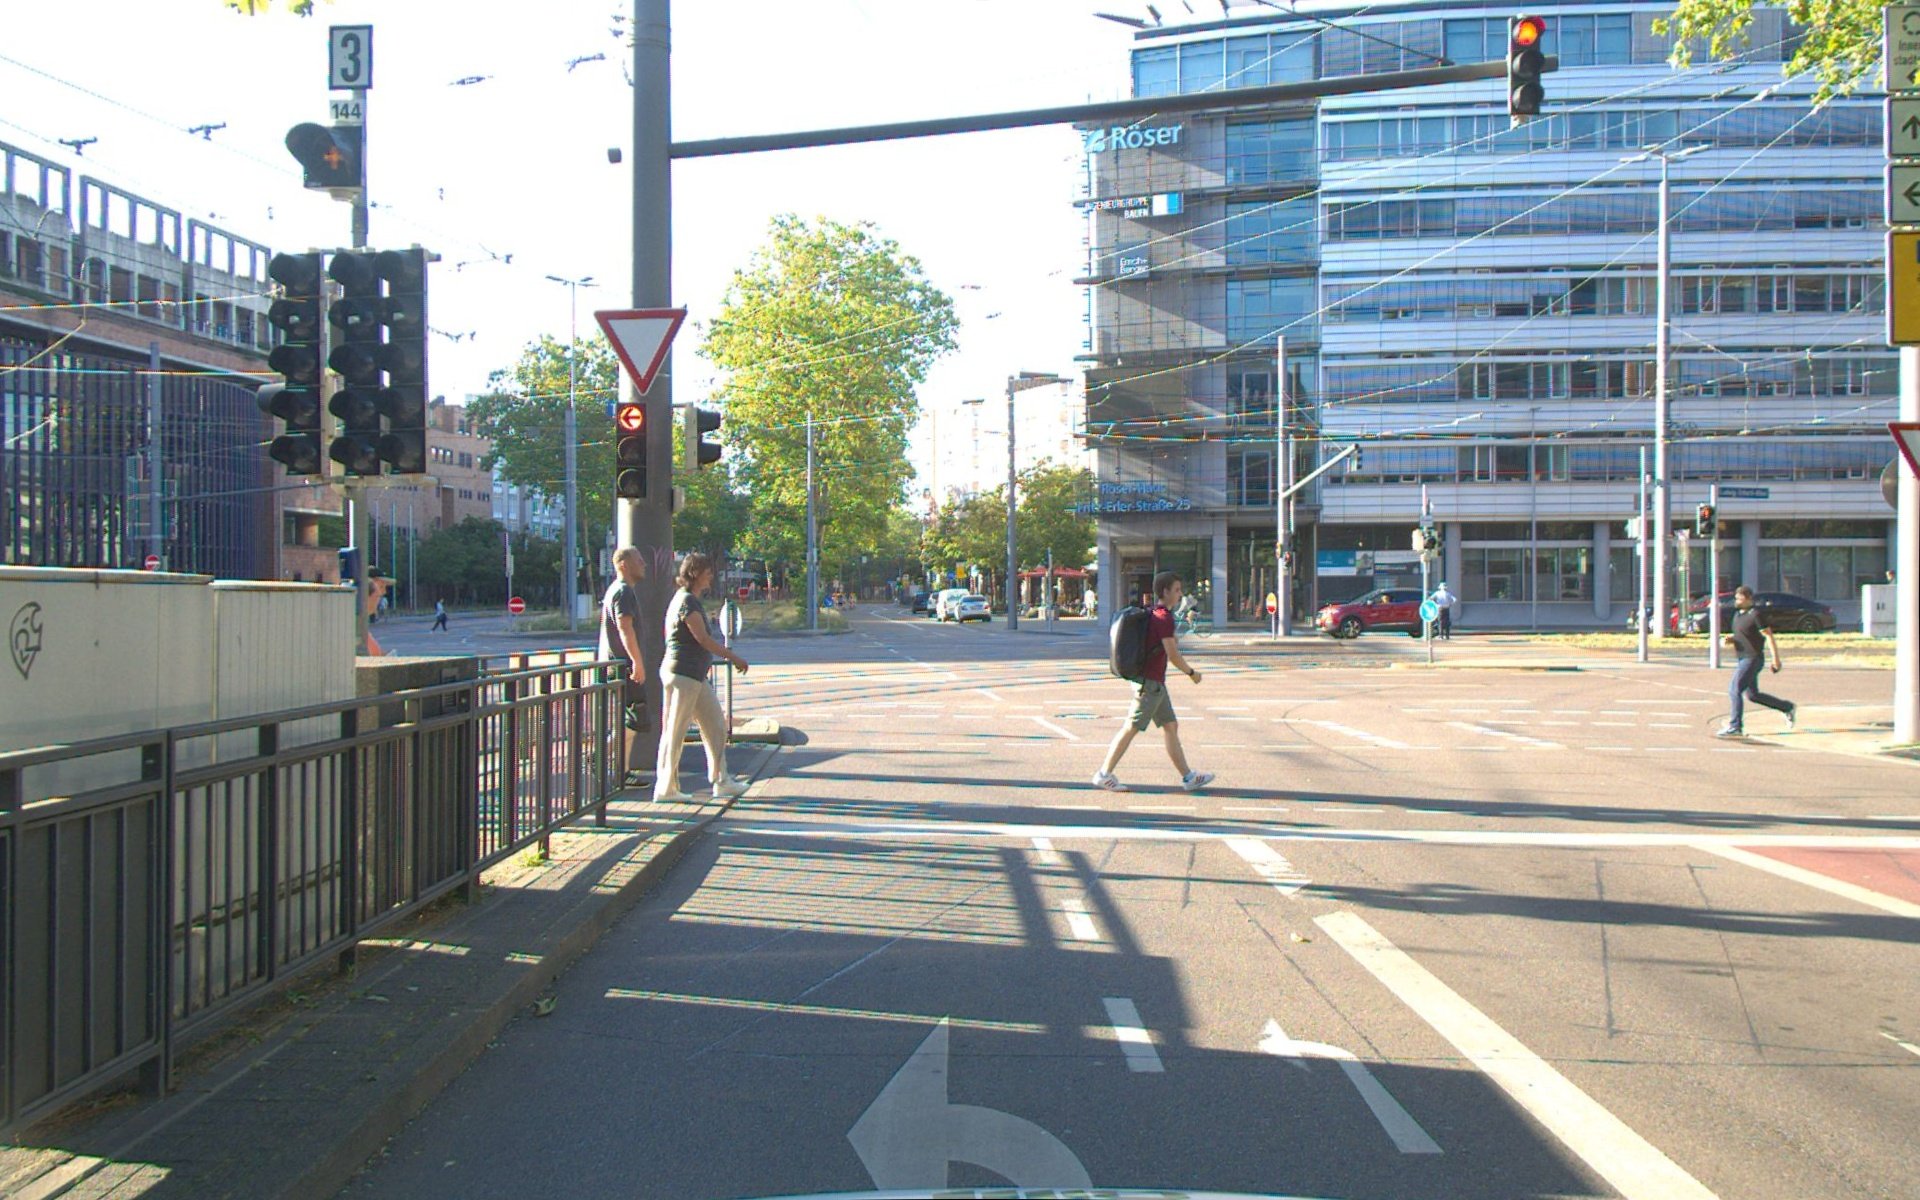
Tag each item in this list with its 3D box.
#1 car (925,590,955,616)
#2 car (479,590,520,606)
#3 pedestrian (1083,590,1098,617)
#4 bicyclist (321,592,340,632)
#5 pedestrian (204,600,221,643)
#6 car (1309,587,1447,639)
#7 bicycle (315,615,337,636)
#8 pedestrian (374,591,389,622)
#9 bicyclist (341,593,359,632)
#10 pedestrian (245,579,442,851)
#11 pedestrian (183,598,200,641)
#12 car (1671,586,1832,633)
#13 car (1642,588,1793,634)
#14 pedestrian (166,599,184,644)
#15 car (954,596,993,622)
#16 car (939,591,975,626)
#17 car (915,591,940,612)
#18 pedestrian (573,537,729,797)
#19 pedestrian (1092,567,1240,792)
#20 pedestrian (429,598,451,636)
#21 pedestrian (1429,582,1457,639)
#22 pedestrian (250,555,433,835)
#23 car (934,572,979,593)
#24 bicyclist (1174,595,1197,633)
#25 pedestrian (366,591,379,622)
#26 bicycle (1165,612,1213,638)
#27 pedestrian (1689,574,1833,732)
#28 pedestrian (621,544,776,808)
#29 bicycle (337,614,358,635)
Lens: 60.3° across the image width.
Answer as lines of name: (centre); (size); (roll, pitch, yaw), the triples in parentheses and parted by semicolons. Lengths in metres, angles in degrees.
car: (-1.355, 0.189, 112.062); (1.953, 1.691, 3.999); (-1, 0, -1)
car: (-49.131, -0.237, 176.595); (3.949, 1.579, 1.589); (2, -1, -33)
pedestrian: (7.199, 0.179, 91.235); (0.724, 1.491, 0.536); (-1, 0, -3)
bicyclist: (-27.415, 0.529, 72.058); (0.582, 1.705, 0.788); (-1, 0, -7)
pedestrian: (-28.935, 0.828, 64.039); (0.529, 1.679, 0.622); (-1, 0, -20)
car: (13.883, 0.427, 55.087); (4.153, 1.630, 1.795); (-1, 0, 0)
bicycle: (-27.564, 1.098, 71.945); (0.503, 0.897, 1.835); (-1, 0, -9)
pedestrian: (-34.099, 0.392, 97.531); (0.627, 1.842, 0.546); (-1, 0, 6)
bicyclist: (-26.674, 0.547, 72.331); (0.582, 1.705, 0.788); (-1, 0, -7)
pedestrian: (-4.032, 0.732, 10.892); (1.052, 1.711, 0.756); (1, -1, -8)
pedestrian: (-30.161, 0.775, 64.936); (0.529, 1.679, 0.622); (-1, 0, -20)
car: (24.703, 0.289, 51.708); (4.152, 1.417, 1.796); (-1, 0, 3)
car: (24.904, 0.358, 54.448); (4.151, 1.417, 1.797); (-1, 0, 5)
pedestrian: (-29.844, 0.805, 62.859); (0.529, 1.679, 0.622); (-1, 0, -20)
car: (0.712, 0.451, 89.945); (1.953, 1.355, 3.999); (-1, 0, -1)
car: (-0.196, 0.482, 96.771); (1.953, 2.026, 3.999); (-1, 0, -1)
car: (-2.609, 0.132, 133.838); (1.953, 1.691, 3.999); (-1, 0, -1)
pedestrian: (-2.362, 0.506, 12.780); (1.124, 1.927, 0.831); (1, -1, -8)
pedestrian: (1.632, 0.623, 13.207); (1.052, 1.745, 0.628); (1, -1, -5)
pedestrian: (-21.568, 0.703, 68.597); (0.740, 1.557, 0.507); (1, 0, -8)
pedestrian: (14.635, 0.309, 50.131); (0.704, 1.711, 0.557); (1, 0, 6)
pedestrian: (-4.356, 0.656, 11.716); (1.053, 1.904, 0.737); (1, -1, -8)
car: (-0.340, -1.528, 148.457); (3.681, 1.780, 1.783); (1, -1, 13)
bicyclist: (8.265, 0.499, 60.731); (0.801, 1.390, 0.400); (-1, 0, 4)
pedestrian: (-34.158, 0.376, 96.216); (0.511, 1.810, 0.546); (-1, 0, 6)
bicycle: (8.411, 0.928, 60.722); (1.704, 0.915, 0.409); (-1, 0, 4)
pedestrian: (9.690, 0.631, 20.053); (1.185, 1.854, 1.040); (1, -1, -7)
pedestrian: (-1.879, 0.538, 11.974); (1.051, 1.837, 0.756); (1, -1, -8)
bicycle: (-26.772, 1.068, 72.269); (0.503, 0.897, 1.835); (-1, 0, -9)
